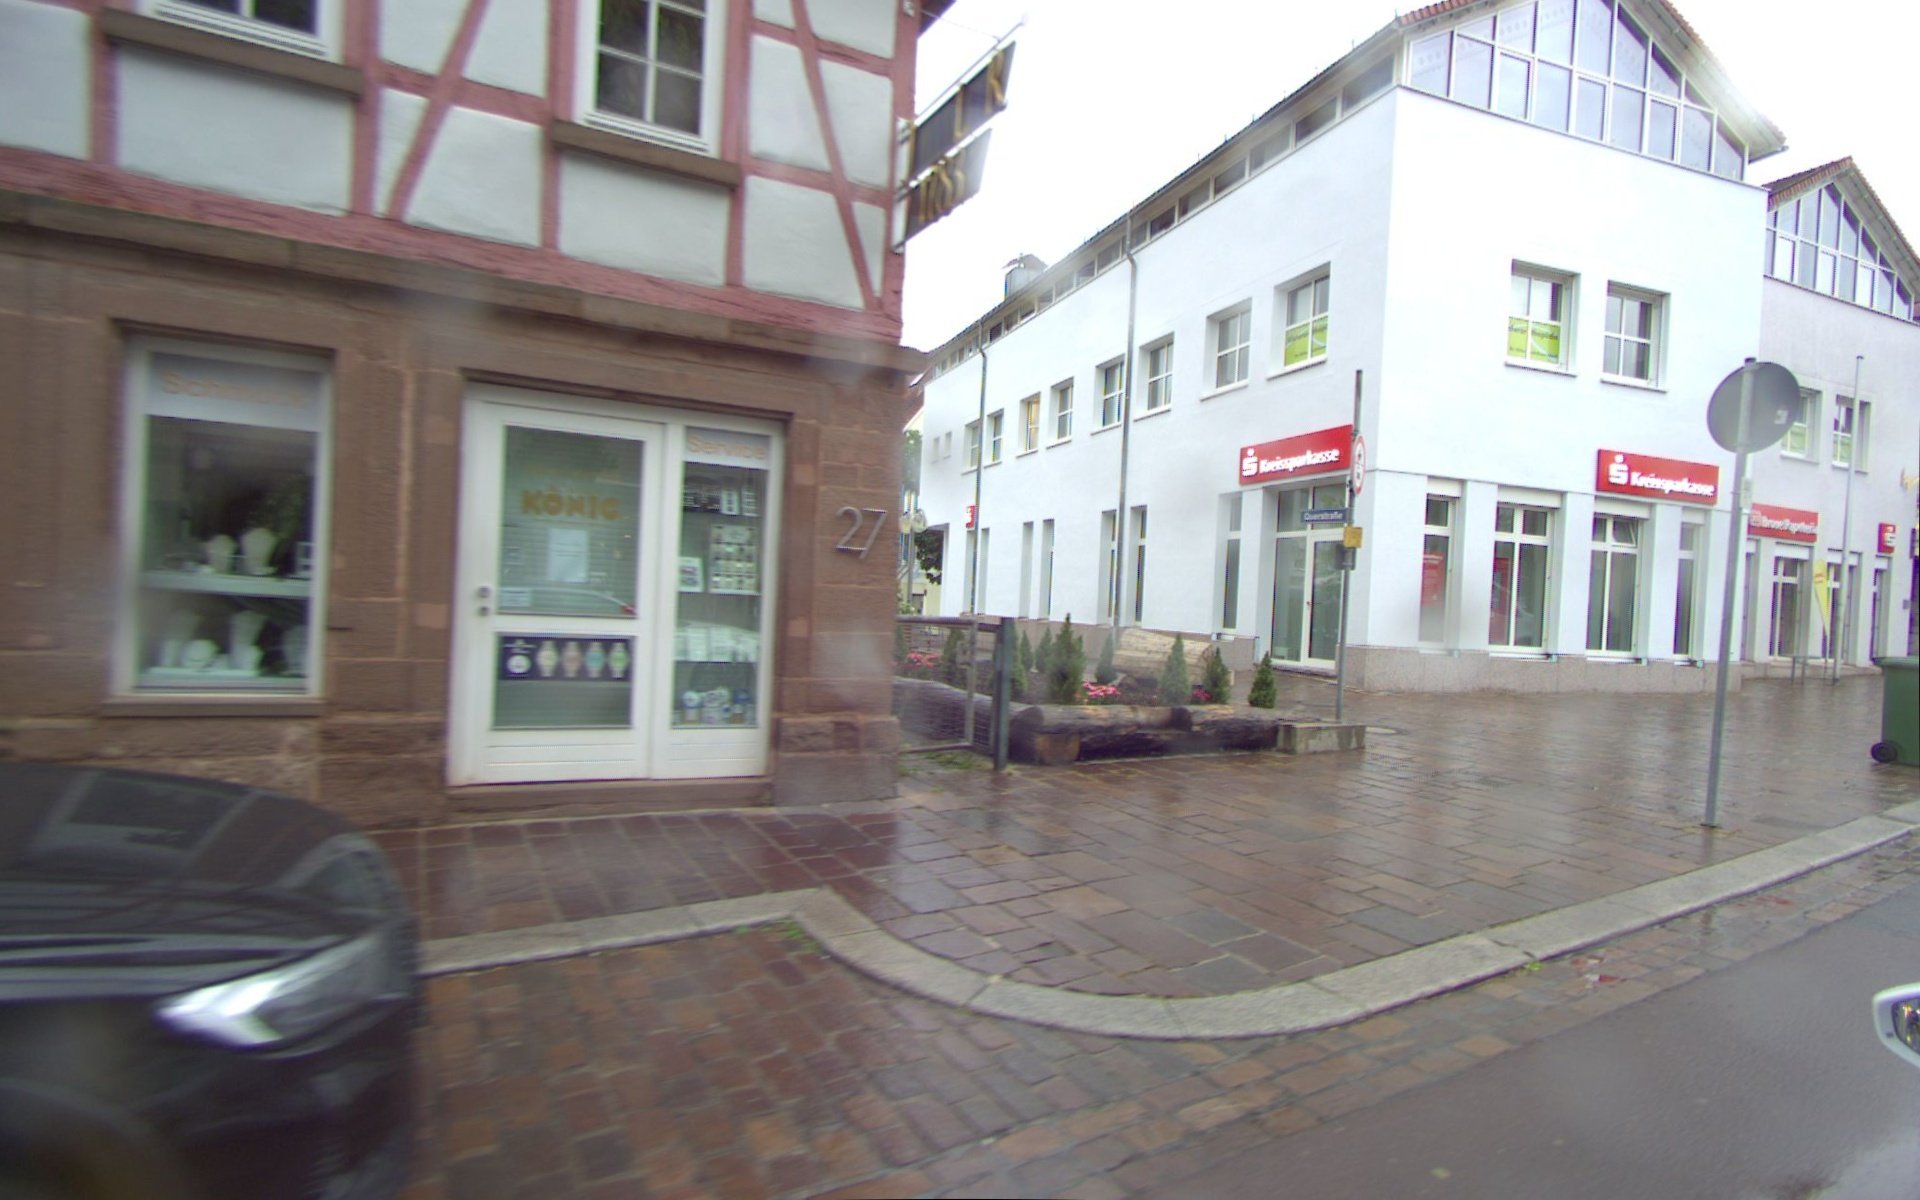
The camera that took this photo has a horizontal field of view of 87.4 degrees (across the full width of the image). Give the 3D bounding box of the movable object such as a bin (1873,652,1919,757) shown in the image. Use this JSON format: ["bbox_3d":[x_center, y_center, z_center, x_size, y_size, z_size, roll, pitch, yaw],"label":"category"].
[{"bbox_3d":[10.146,1.106,10.511,0.519,1.064,0.760,3,-1,-35],"label":"movable object such as a bin"}]

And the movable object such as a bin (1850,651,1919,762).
[{"bbox_3d":[9.636,1.074,10.144,0.693,1.064,0.813,3,-1,-35],"label":"movable object such as a bin"}]

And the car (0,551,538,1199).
[{"bbox_3d":[-2.966,0.637,1.537,3.959,1.514,1.981,2,2,-34],"label":"car"}]

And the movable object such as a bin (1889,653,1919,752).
[{"bbox_3d":[10.822,1.158,11.021,0.519,1.064,0.760,3,2,-35],"label":"movable object such as a bin"}]
